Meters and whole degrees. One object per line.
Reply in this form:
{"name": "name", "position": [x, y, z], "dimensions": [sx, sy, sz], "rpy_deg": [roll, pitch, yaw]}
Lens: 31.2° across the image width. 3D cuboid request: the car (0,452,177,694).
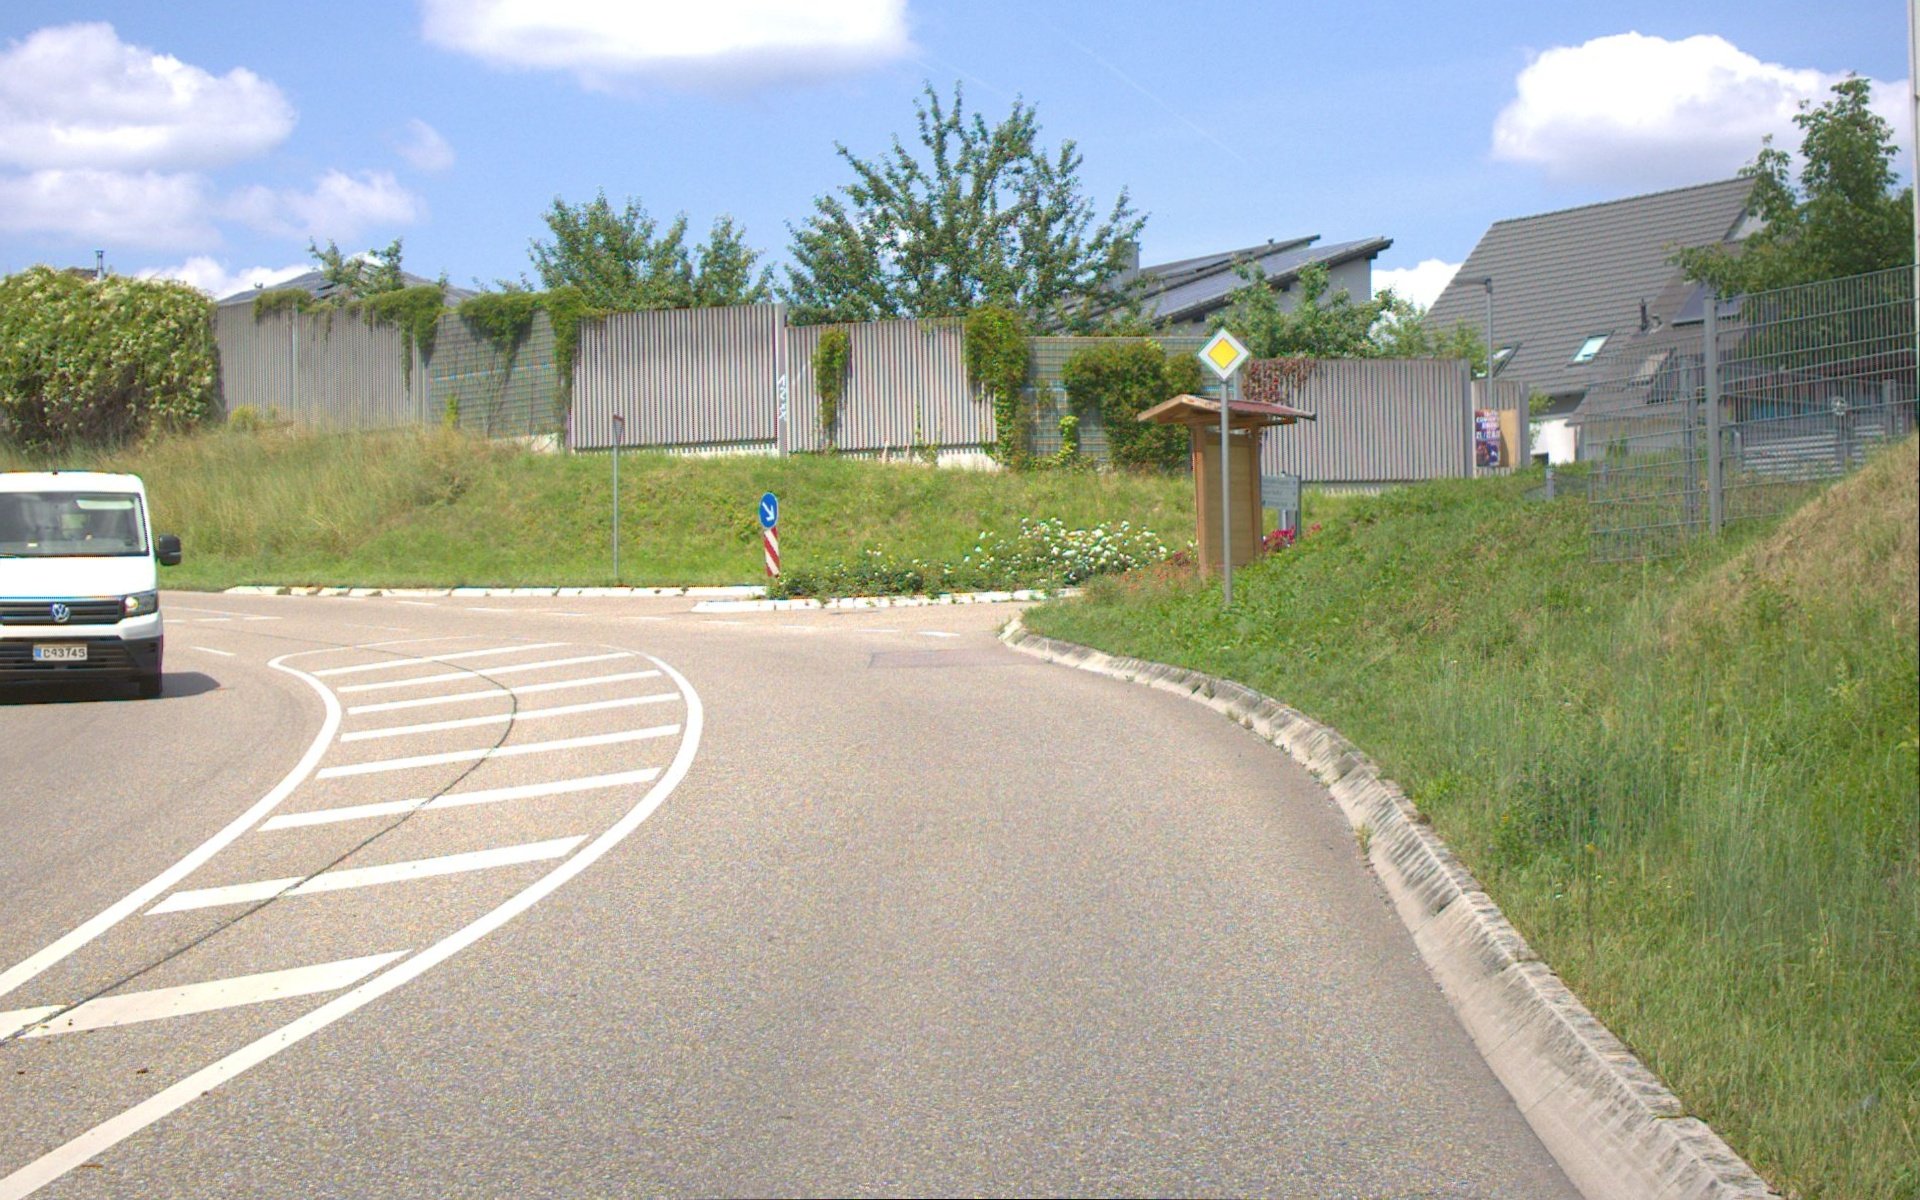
{"name": "car", "position": [-9.271, -0.291, 35.840], "dimensions": [2.085, 2.282, 5.948], "rpy_deg": [-1, 1, -13]}
